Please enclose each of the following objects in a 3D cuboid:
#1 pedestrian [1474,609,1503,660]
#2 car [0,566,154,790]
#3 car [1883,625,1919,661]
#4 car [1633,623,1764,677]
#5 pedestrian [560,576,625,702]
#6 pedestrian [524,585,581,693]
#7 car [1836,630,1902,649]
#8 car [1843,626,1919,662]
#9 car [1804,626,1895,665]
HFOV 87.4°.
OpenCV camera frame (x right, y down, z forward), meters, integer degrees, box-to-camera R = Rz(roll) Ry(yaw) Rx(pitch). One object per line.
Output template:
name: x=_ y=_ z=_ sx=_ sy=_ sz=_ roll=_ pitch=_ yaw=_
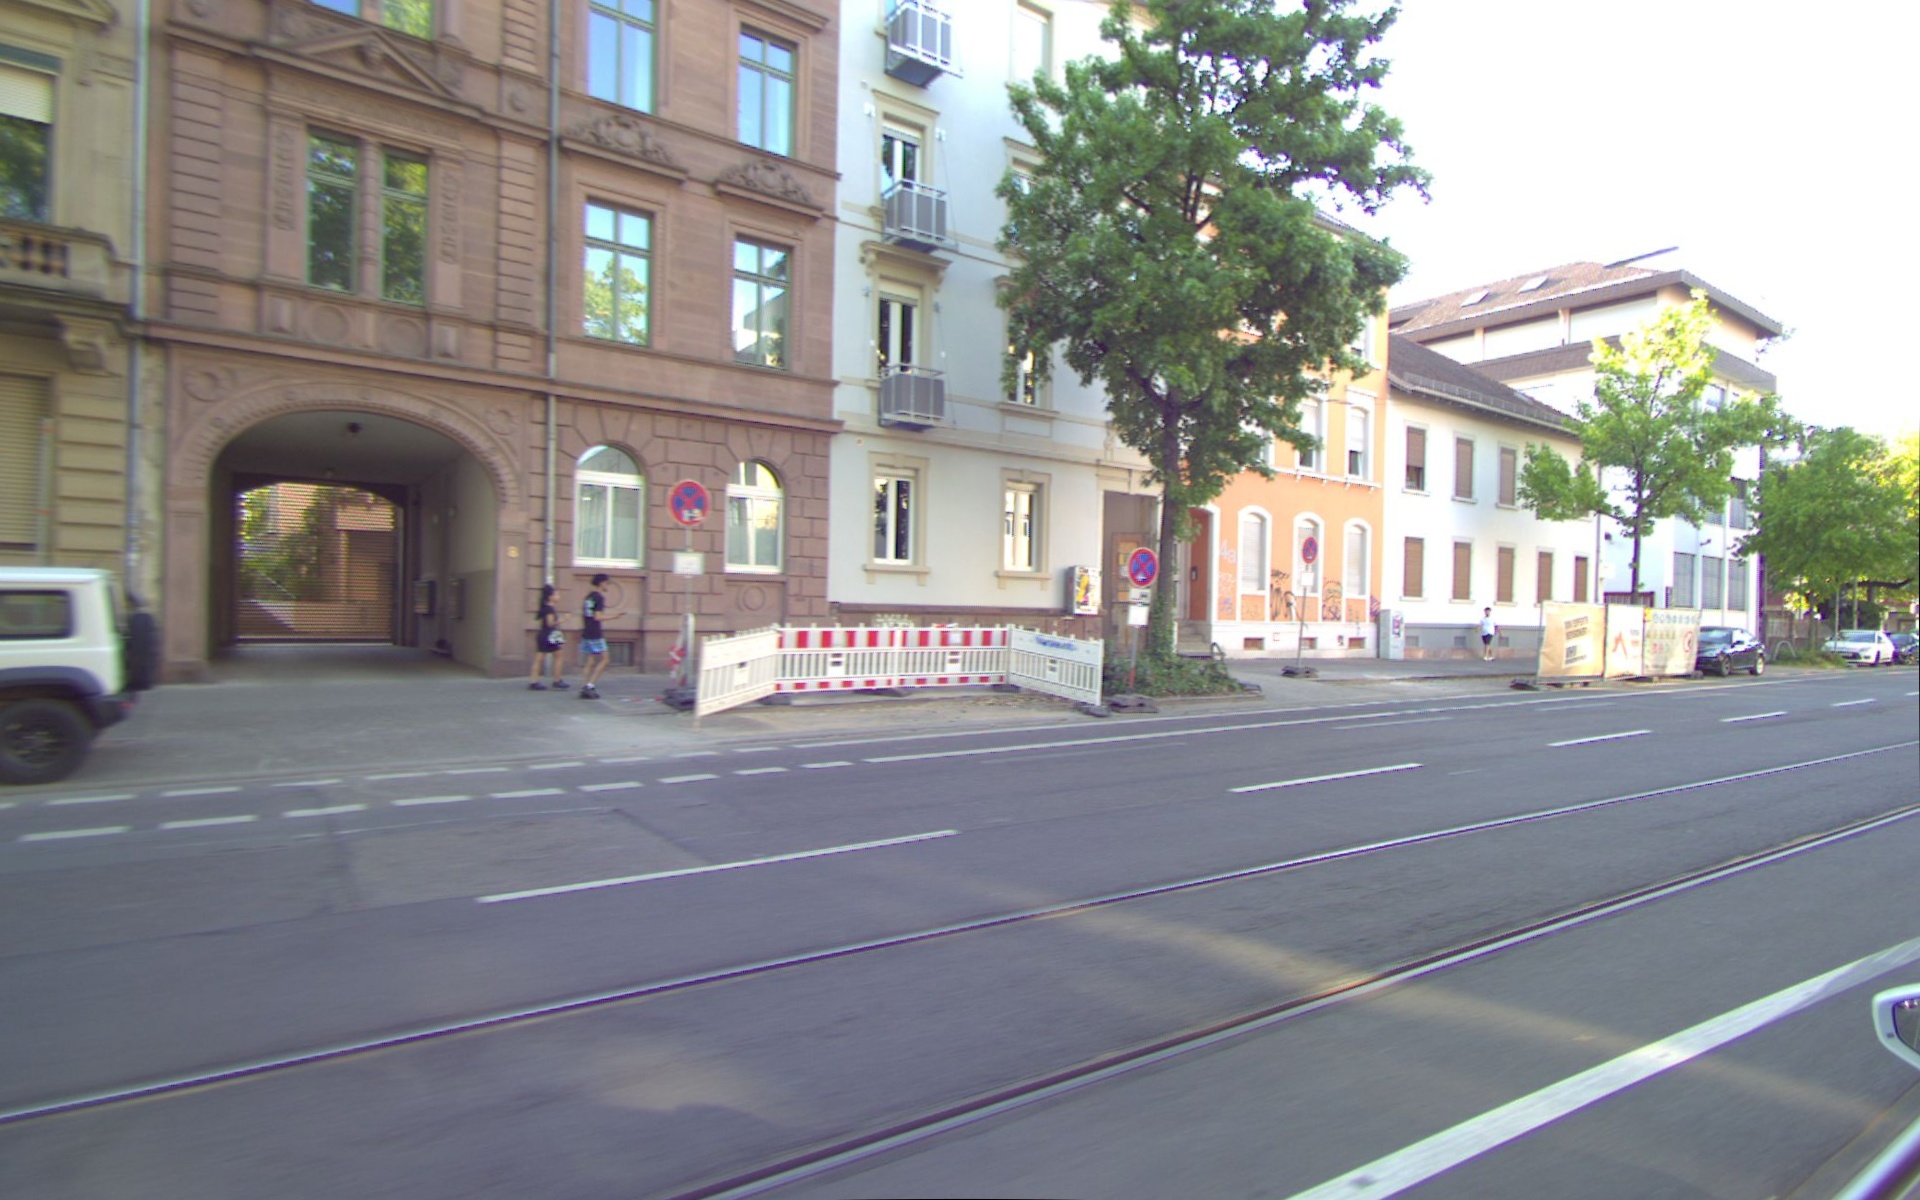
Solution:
pedestrian: x=16.744 y=1.100 z=31.812 sx=0.633 sy=1.591 sz=0.590 roll=1 pitch=0 yaw=-36
car: x=-8.722 y=0.590 z=8.134 sx=3.341 sy=1.729 sz=1.618 roll=1 pitch=2 yaw=-38
car: x=47.131 y=2.103 z=49.266 sx=4.138 sy=1.712 sz=1.979 roll=1 pitch=-1 yaw=-37
car: x=23.233 y=1.529 z=31.556 sx=4.679 sy=1.534 sz=1.980 roll=1 pitch=-1 yaw=-36
pedestrian: x=-5.074 y=0.522 z=13.862 sx=0.681 sy=1.676 sz=0.563 roll=1 pitch=2 yaw=-37
pedestrian: x=-5.831 y=0.545 z=14.372 sx=0.602 sy=1.481 sz=0.572 roll=1 pitch=2 yaw=-36
car: x=74.406 y=3.204 z=82.229 sx=3.946 sy=1.483 sz=1.790 roll=-1 pitch=-2 yaw=45
car: x=41.643 y=1.968 z=45.168 sx=4.606 sy=1.495 sz=1.979 roll=1 pitch=-1 yaw=-37
car: x=36.942 y=1.856 z=41.702 sx=4.364 sy=1.490 sz=1.979 roll=1 pitch=-1 yaw=-37
